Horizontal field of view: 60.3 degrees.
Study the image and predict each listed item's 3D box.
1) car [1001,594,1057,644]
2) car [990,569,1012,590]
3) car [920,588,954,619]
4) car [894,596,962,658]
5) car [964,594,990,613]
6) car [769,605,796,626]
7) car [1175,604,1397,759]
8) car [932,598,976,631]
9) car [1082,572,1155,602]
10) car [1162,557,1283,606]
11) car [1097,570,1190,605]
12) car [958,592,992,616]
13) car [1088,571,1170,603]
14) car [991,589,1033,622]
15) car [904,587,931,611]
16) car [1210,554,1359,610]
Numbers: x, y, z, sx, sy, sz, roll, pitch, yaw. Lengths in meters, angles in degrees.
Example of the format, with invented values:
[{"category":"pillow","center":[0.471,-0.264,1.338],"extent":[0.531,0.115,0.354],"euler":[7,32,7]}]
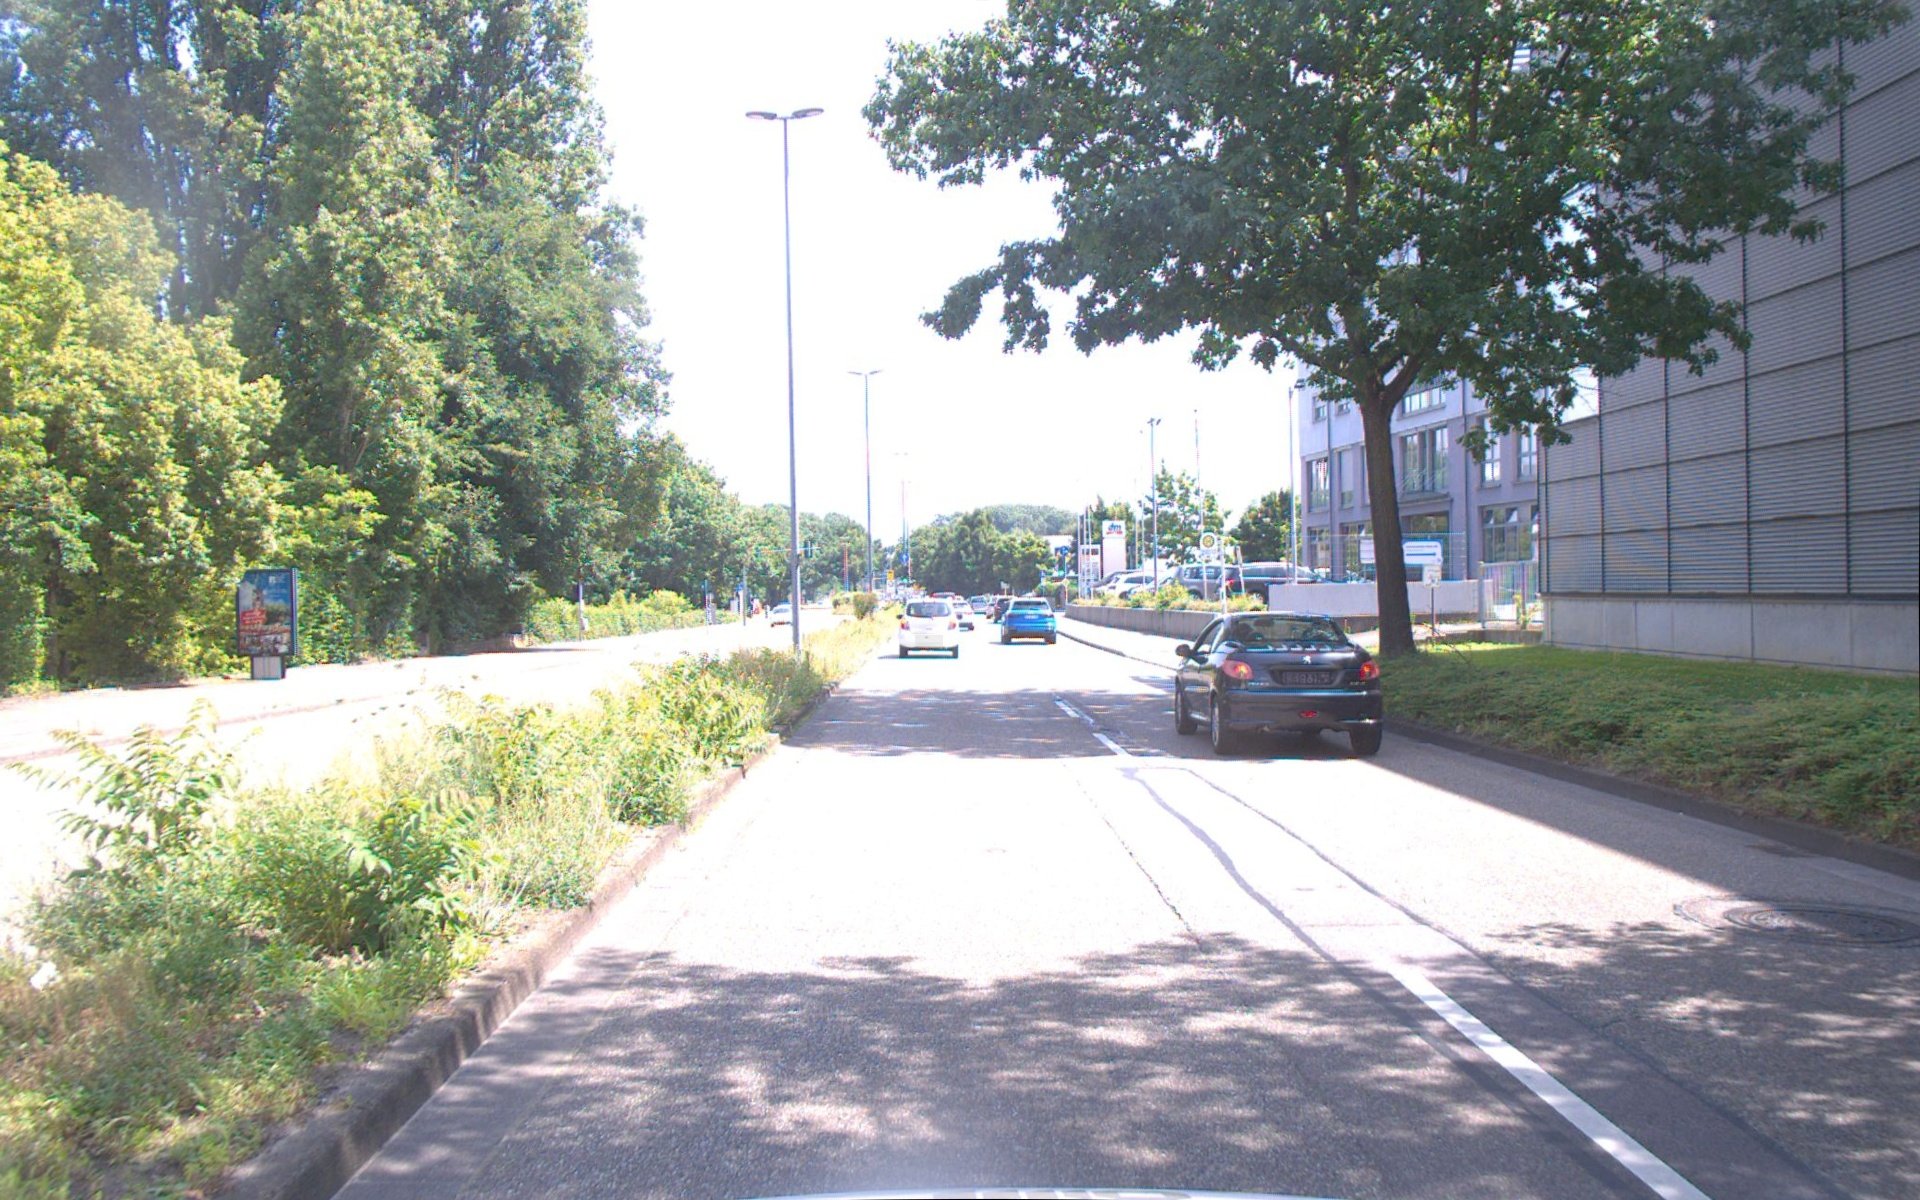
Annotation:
[{"category":"car","center":[2.376,0.631,57.654],"extent":[1.790,1.607,3.605],"euler":[-1,1,0]},{"category":"car","center":[4.046,-2.041,164.092],"extent":[1.735,2.048,3.987],"euler":[-2,1,-5]},{"category":"car","center":[-1.418,0.211,100.380],"extent":[1.741,1.770,3.996],"euler":[-2,0,-4]},{"category":"car","center":[-0.822,0.691,44.291],"extent":[1.712,1.546,3.746],"euler":[0,1,0]},{"category":"car","center":[1.433,0.308,139.749],"extent":[1.953,1.534,3.999],"euler":[-2,0,-2]},{"category":"car","center":[-13.124,1.111,122.401],"extent":[1.701,1.437,4.369],"euler":[-2,0,-3]},{"category":"car","center":[3.300,0.768,17.349],"extent":[1.594,1.388,3.605],"euler":[0,1,-1]},{"category":"car","center":[-0.323,0.674,78.715],"extent":[1.953,1.467,3.999],"euler":[-2,0,-2]},{"category":"car","center":[9.187,-0.730,95.794],"extent":[3.908,1.571,1.999],"euler":[-2,0,-3]},{"category":"car","center":[9.907,-0.689,62.630],"extent":[4.142,1.676,1.999],"euler":[-2,0,-2]},{"category":"car","center":[9.331,-0.635,84.522],"extent":[4.444,1.571,1.999],"euler":[-2,0,-2]},{"category":"car","center":[0.947,0.258,106.004],"extent":[1.953,1.445,3.999],"euler":[-2,0,-1]},{"category":"car","center":[9.482,-0.731,93.059],"extent":[4.260,1.571,1.999],"euler":[-2,0,-3]},{"category":"car","center":[2.800,0.304,89.874],"extent":[1.953,1.668,3.999],"euler":[-2,0,-2]},{"category":"car","center":[-3.226,-0.122,124.833],"extent":[1.784,1.691,3.996],"euler":[-2,1,-5]},{"category":"car","center":[10.531,-0.573,53.909],"extent":[4.409,1.610,1.999],"euler":[-2,0,-2]}]
